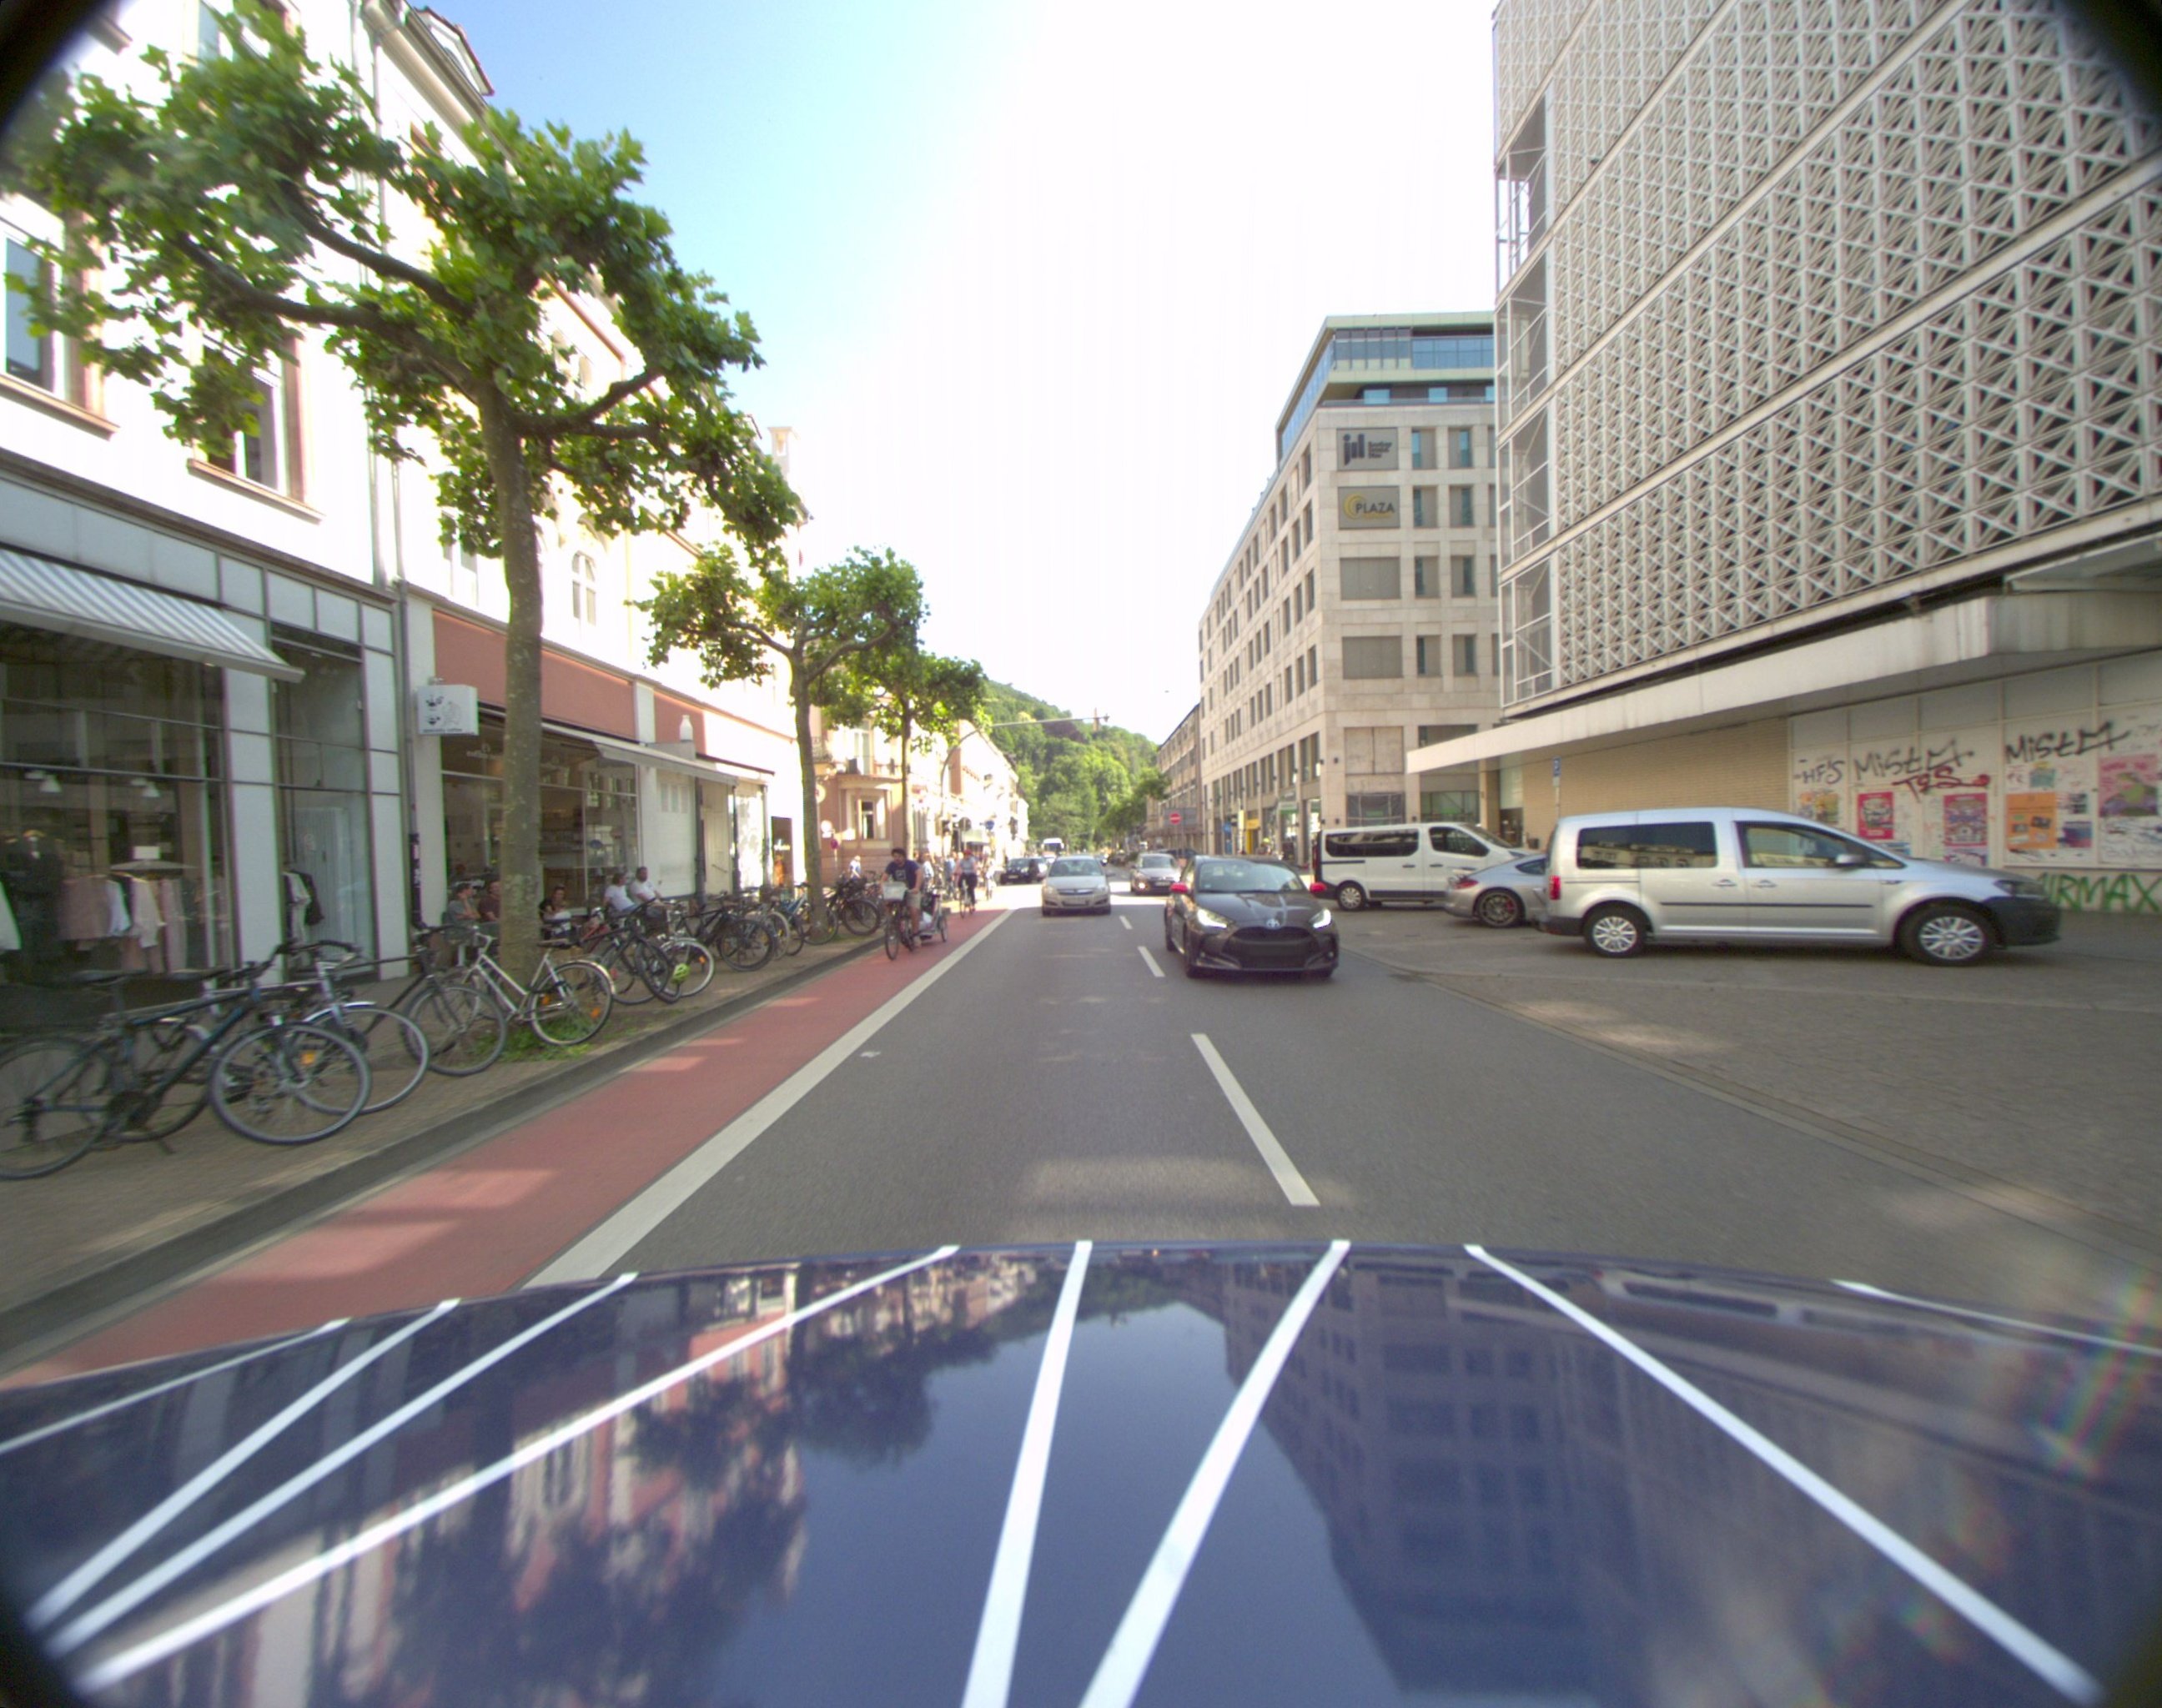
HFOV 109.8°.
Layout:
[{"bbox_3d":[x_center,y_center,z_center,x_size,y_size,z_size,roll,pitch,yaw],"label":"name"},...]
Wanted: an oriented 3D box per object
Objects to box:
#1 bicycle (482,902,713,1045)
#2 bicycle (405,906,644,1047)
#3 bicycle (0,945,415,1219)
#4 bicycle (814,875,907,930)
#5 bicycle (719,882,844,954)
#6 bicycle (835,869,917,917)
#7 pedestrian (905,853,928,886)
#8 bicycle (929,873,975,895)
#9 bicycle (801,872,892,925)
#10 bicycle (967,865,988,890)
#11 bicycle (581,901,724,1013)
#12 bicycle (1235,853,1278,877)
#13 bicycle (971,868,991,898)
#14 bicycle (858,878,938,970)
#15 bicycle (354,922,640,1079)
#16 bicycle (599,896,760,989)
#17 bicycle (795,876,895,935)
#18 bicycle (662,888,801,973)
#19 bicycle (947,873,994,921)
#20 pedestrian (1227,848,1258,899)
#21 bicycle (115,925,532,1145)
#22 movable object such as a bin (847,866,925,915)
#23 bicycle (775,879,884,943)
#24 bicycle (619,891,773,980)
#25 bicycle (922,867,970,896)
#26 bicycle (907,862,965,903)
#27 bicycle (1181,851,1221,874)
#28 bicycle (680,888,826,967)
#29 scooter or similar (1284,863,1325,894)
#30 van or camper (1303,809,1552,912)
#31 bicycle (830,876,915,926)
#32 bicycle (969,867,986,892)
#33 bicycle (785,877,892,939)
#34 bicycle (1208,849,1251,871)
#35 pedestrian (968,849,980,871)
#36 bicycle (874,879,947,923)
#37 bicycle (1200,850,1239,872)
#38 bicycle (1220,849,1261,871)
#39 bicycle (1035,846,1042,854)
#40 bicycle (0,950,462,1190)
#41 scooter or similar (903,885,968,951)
[{"bbox_3d":[-4.786,1.125,7.622,1.849,1.121,0.592,-3,3,-36],"label":"bicycle"},{"bbox_3d":[-5.534,1.173,7.677,1.849,1.121,0.447,-3,3,-37],"label":"bicycle"},{"bbox_3d":[-4.877,1.172,4.055,1.846,1.120,0.632,-4,2,-10],"label":"bicycle"},{"bbox_3d":[-4.881,1.060,16.899,1.844,1.120,0.643,-2,2,2],"label":"bicycle"},{"bbox_3d":[-5.118,1.086,13.055,1.844,1.121,0.679,-2,2,2],"label":"bicycle"},{"bbox_3d":[-5.202,0.985,19.298,1.843,1.120,0.667,-1,2,7],"label":"bicycle"},{"bbox_3d":[-8.480,0.810,39.241,0.904,1.603,0.974,-2,4,-28],"label":"pedestrian"},{"bbox_3d":[-5.530,1.273,32.594,1.826,0.839,0.501,-2,1,1],"label":"bicycle"},{"bbox_3d":[-5.384,1.022,17.505,1.844,1.120,0.666,-2,2,2],"label":"bicycle"},{"bbox_3d":[-4.796,1.080,35.267,0.664,1.111,1.992,-1,-1,1],"label":"bicycle"},{"bbox_3d":[-4.902,1.126,8.651,1.841,1.121,0.449,-1,3,28],"label":"bicycle"},{"bbox_3d":[8.680,0.553,37.582,1.990,1.120,0.799,-2,0,7],"label":"bicycle"},{"bbox_3d":[-4.378,1.258,33.323,0.607,1.121,1.859,0,3,1],"label":"bicycle"},{"bbox_3d":[-2.893,1.066,12.263,0.734,1.261,2.282,-3,0,-2],"label":"bicycle"},{"bbox_3d":[-4.763,1.183,6.268,1.844,1.087,0.564,-3,1,0],"label":"bicycle"},{"bbox_3d":[-5.236,1.153,9.955,1.844,1.121,0.448,-2,2,3],"label":"bicycle"},{"bbox_3d":[-4.903,1.071,15.853,1.844,1.120,0.666,-2,2,2],"label":"bicycle"},{"bbox_3d":[-5.152,1.129,11.213,1.843,1.120,0.530,-3,2,12],"label":"bicycle"},{"bbox_3d":[-2.873,1.107,19.942,0.737,1.120,2.034,-2,0,5],"label":"bicycle"},{"bbox_3d":[5.036,0.595,23.717,0.641,1.550,0.680,-4,1,-12],"label":"pedestrian"},{"bbox_3d":[-5.113,1.182,5.297,1.846,1.121,0.764,-4,3,-13],"label":"bicycle"},{"bbox_3d":[-5.158,0.969,20.113,1.853,1.182,0.653,-4,1,15],"label":"movable object such as a bin"},{"bbox_3d":[-4.728,1.067,14.344,1.844,1.121,0.530,-2,2,2],"label":"bicycle"},{"bbox_3d":[-5.255,1.105,10.412,1.844,1.121,0.448,-2,2,3],"label":"bicycle"},{"bbox_3d":[-5.797,1.159,32.663,1.844,1.120,0.666,-3,2,4],"label":"bicycle"},{"bbox_3d":[-4.608,0.917,24.085,1.852,1.181,0.718,-5,-2,38],"label":"bicycle"},{"bbox_3d":[6.376,0.480,40.497,2.059,1.166,0.606,-1,2,45],"label":"bicycle"},{"bbox_3d":[-5.136,1.131,11.928,1.989,1.121,0.762,-1,2,13],"label":"bicycle"},{"bbox_3d":[7.539,0.827,25.656,0.974,0.959,0.900,-3,2,-21],"label":"scooter or similar"},{"bbox_3d":[7.674,0.195,17.081,4.648,2.002,2.004,-3,0,39],"label":"van or camper"},{"bbox_3d":[-5.053,1.134,18.479,1.844,1.120,0.666,-2,2,2],"label":"bicycle"},{"bbox_3d":[-5.083,1.220,37.391,0.749,1.111,1.916,-3,1,-8],"label":"bicycle"},{"bbox_3d":[-4.779,1.064,15.040,1.844,1.120,0.666,-2,2,2],"label":"bicycle"},{"bbox_3d":[8.535,0.330,43.675,2.324,1.120,0.563,-4,1,25],"label":"bicycle"},{"bbox_3d":[-8.698,0.477,61.650,0.840,1.781,0.767,-1,1,0],"label":"pedestrian"},{"bbox_3d":[-4.771,1.323,21.362,1.855,0.396,1.014,-10,36,4],"label":"bicycle"},{"bbox_3d":[7.864,0.401,43.131,2.060,1.120,0.563,-4,0,25],"label":"bicycle"},{"bbox_3d":[8.627,0.351,41.170,2.059,1.120,0.648,-2,1,26],"label":"bicycle"},{"bbox_3d":[-5.736,-0.547,102.885,0.743,1.120,2.573,0,1,1],"label":"bicycle"},{"bbox_3d":[-4.974,1.230,4.556,1.846,1.087,0.564,-3,1,-10],"label":"bicycle"},{"bbox_3d":[-2.638,1.154,13.892,0.785,1.054,1.126,-3,1,8],"label":"scooter or similar"}]
